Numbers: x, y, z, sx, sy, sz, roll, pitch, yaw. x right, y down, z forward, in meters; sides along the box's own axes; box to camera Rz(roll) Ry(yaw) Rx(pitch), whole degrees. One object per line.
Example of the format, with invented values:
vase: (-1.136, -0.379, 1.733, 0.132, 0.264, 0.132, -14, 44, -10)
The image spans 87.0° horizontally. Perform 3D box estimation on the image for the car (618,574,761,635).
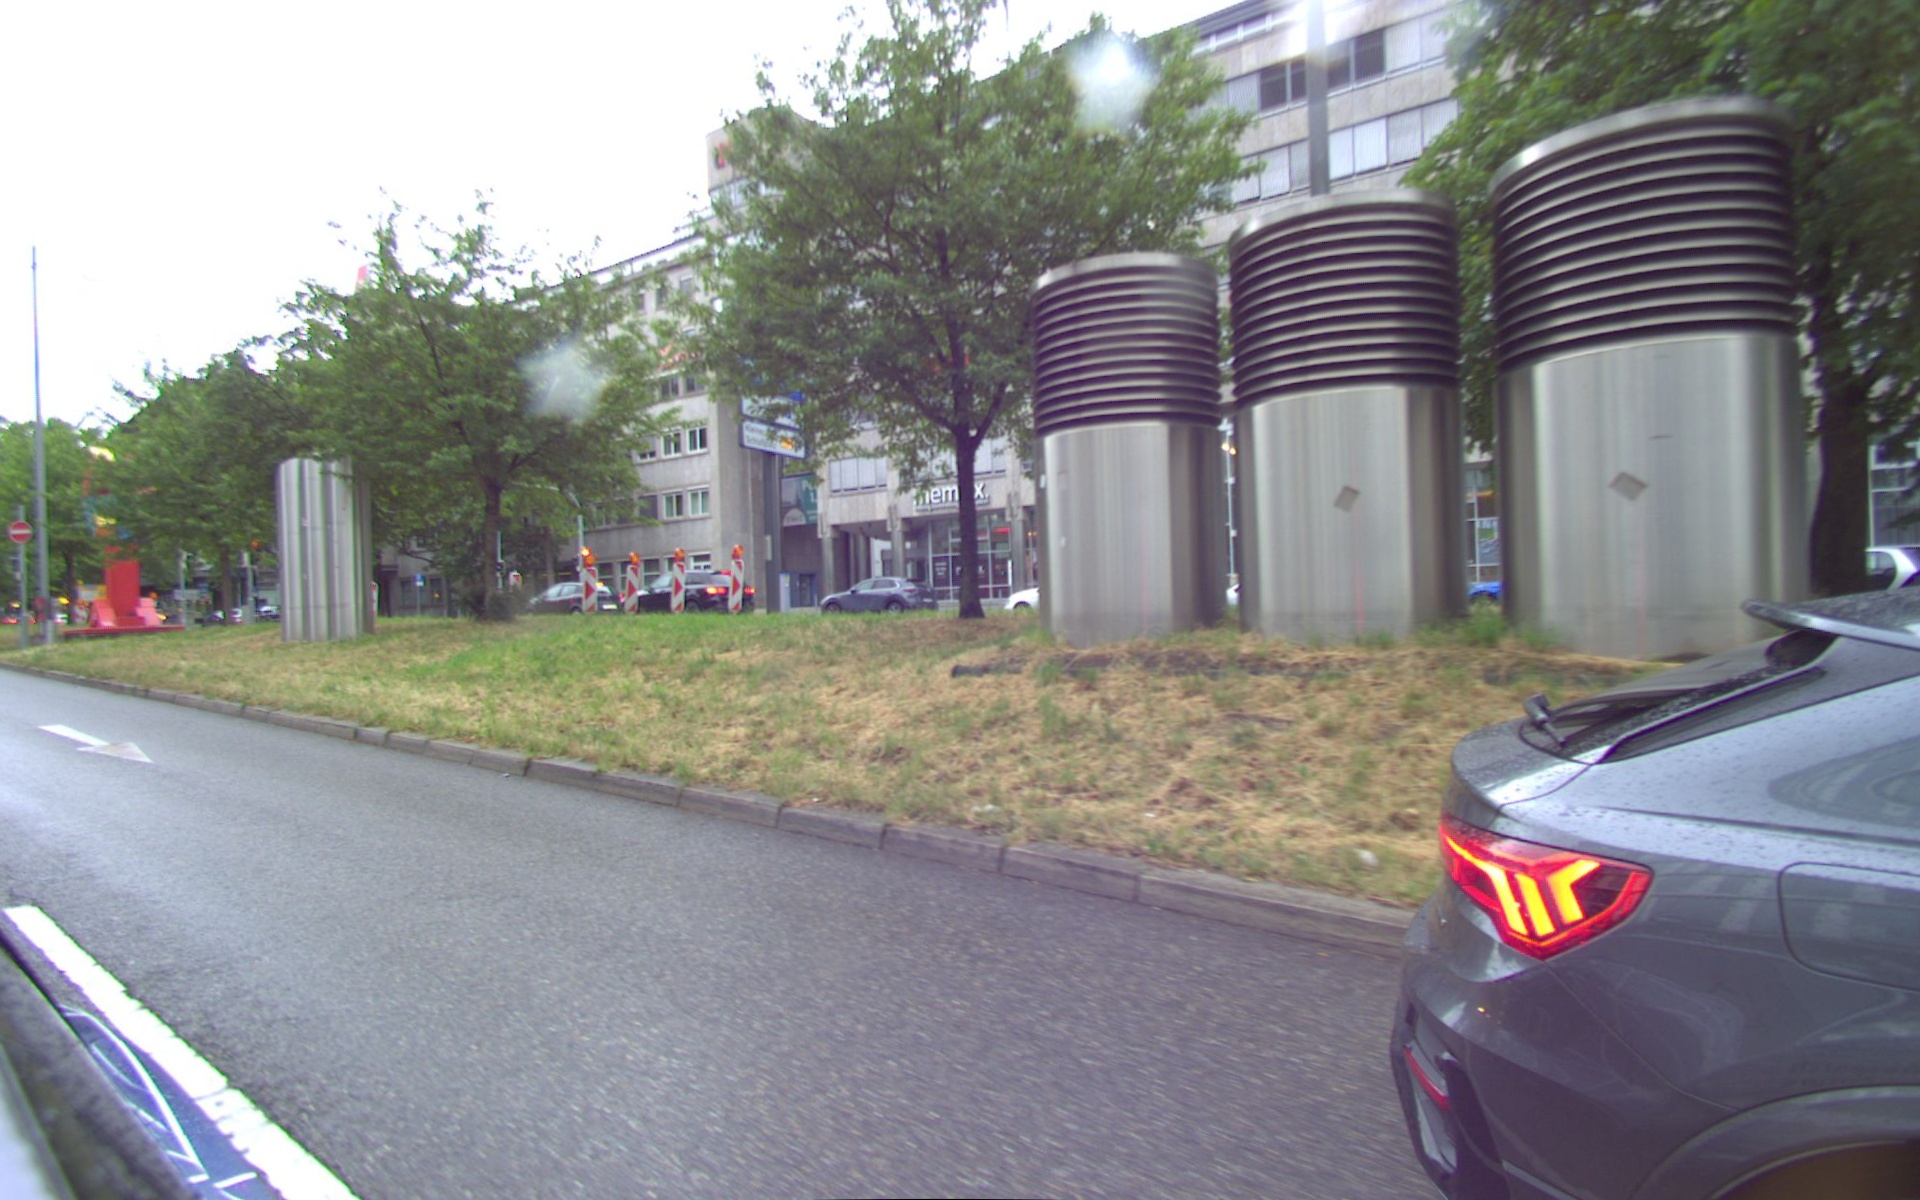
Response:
car: (-7.864, 0.121, 29.334, 4.101, 1.592, 1.858, -1, 2, 38)

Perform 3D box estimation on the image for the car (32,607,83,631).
car: (-65.947, 1.367, 73.952, 4.101, 1.599, 2.048, -1, 2, 38)

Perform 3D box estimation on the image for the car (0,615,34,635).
car: (-81.837, 2.143, 87.351, 4.101, 1.599, 2.048, -1, 2, 38)

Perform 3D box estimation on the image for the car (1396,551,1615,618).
car: (12.513, -0.342, 23.314, 4.308, 1.395, 1.662, -1, 2, 33)

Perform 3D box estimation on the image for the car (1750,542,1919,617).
car: (17.538, -0.394, 20.296, 2.623, 1.395, 1.229, -1, 2, 37)

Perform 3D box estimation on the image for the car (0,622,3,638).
car: (-95.580, 2.998, 99.136, 4.101, 1.599, 2.048, -1, 2, 38)

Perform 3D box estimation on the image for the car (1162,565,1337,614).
car: (7.461, -0.253, 26.233, 4.096, 1.130, 1.558, -1, 2, 33)

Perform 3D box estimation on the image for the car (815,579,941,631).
car: (-2.777, 0.171, 33.916, 4.096, 1.592, 1.558, -1, 2, 33)

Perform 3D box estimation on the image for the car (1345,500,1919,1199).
car: (2.895, 0.610, 1.027, 4.338, 1.529, 1.843, -1, 0, 38)

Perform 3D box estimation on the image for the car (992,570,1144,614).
car: (3.093, -0.229, 29.317, 4.096, 1.130, 1.558, -1, 2, 33)

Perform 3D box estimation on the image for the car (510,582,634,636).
car: (-12.627, 0.276, 32.845, 4.101, 1.592, 1.858, -1, 2, 38)
